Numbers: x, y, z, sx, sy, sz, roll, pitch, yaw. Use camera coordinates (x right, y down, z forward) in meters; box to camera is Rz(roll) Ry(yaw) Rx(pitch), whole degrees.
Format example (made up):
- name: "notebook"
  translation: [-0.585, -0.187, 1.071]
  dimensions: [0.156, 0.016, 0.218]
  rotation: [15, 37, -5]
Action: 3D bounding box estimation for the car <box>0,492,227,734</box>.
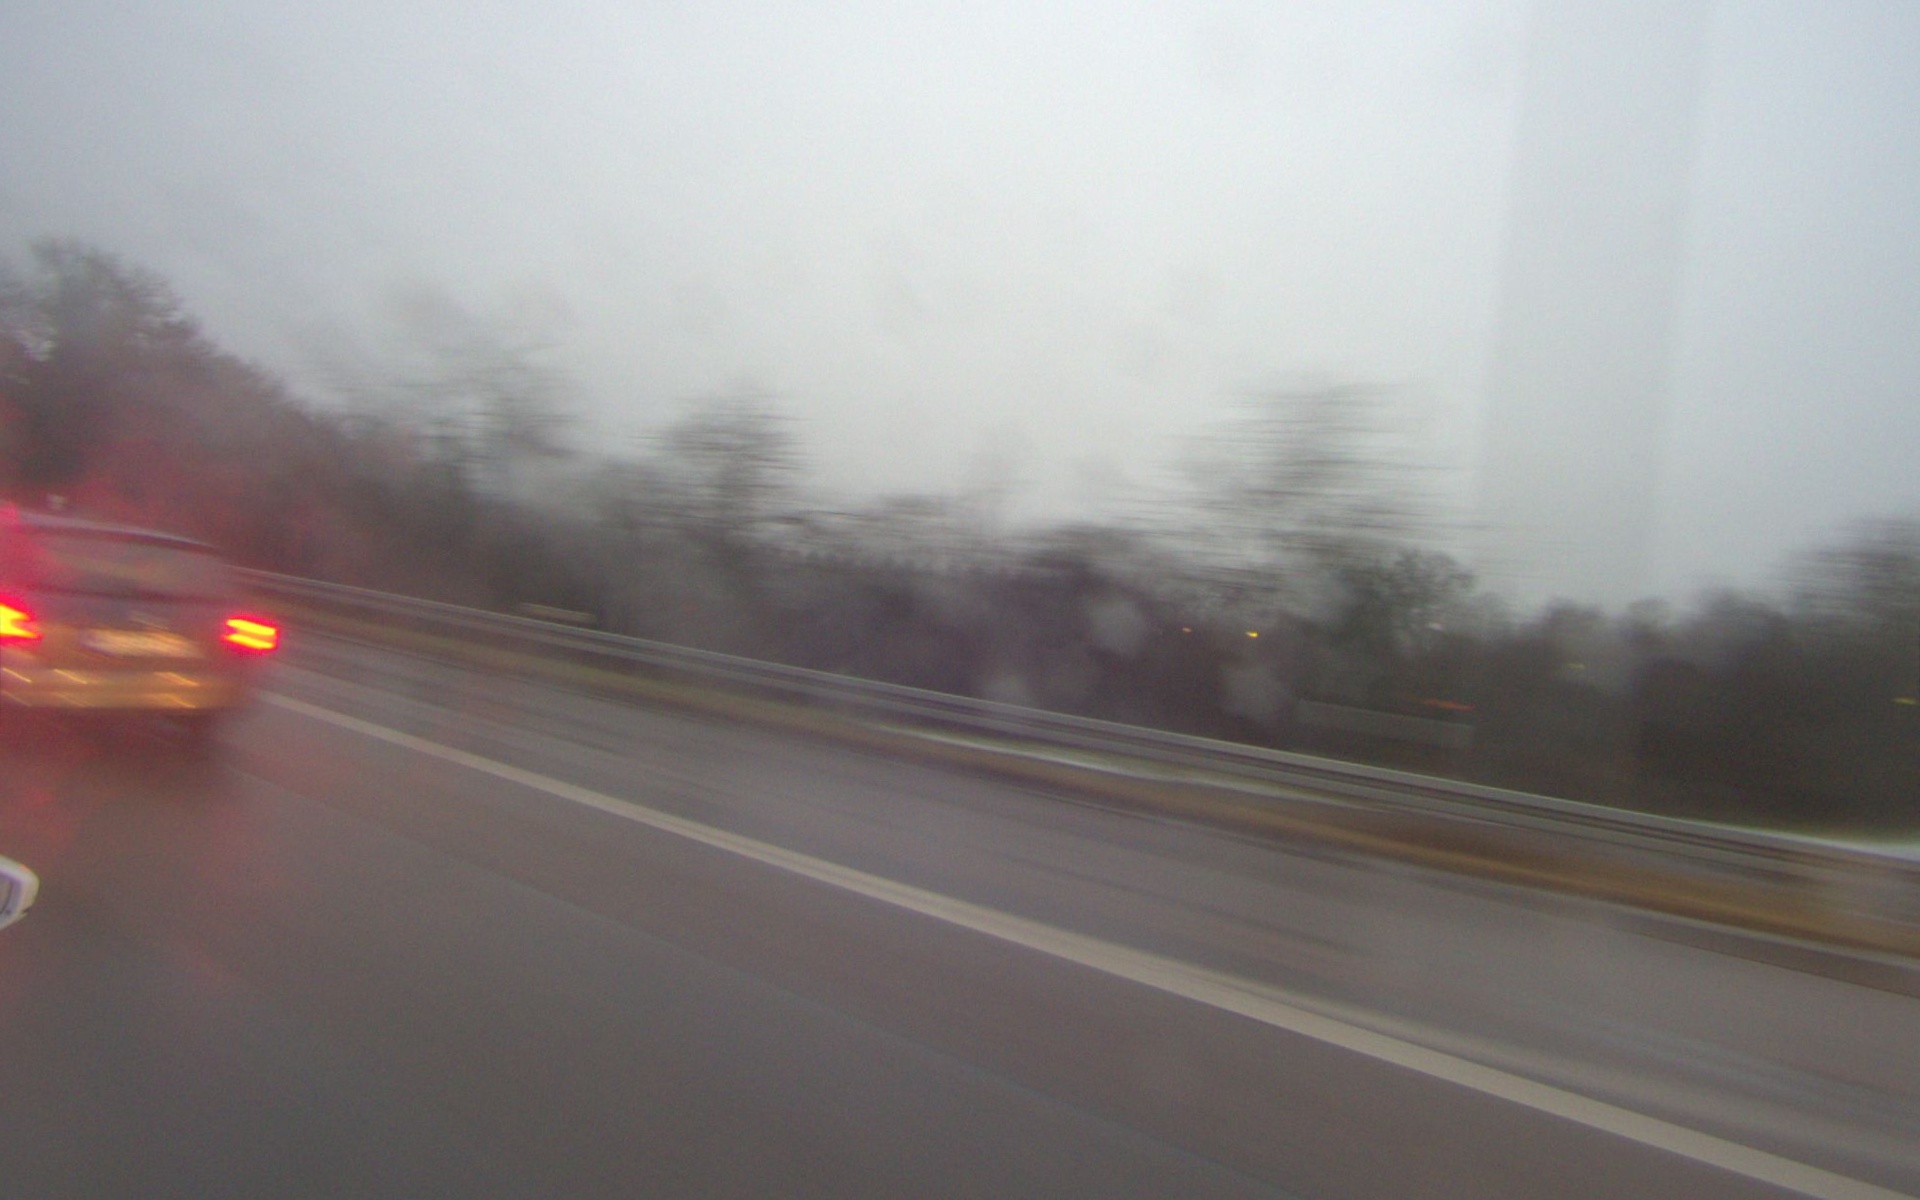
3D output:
- name: "car"
  translation: [-7.289, -0.054, 7.542]
  dimensions: [3.535, 1.509, 1.597]
  rotation: [7, -1, 32]
